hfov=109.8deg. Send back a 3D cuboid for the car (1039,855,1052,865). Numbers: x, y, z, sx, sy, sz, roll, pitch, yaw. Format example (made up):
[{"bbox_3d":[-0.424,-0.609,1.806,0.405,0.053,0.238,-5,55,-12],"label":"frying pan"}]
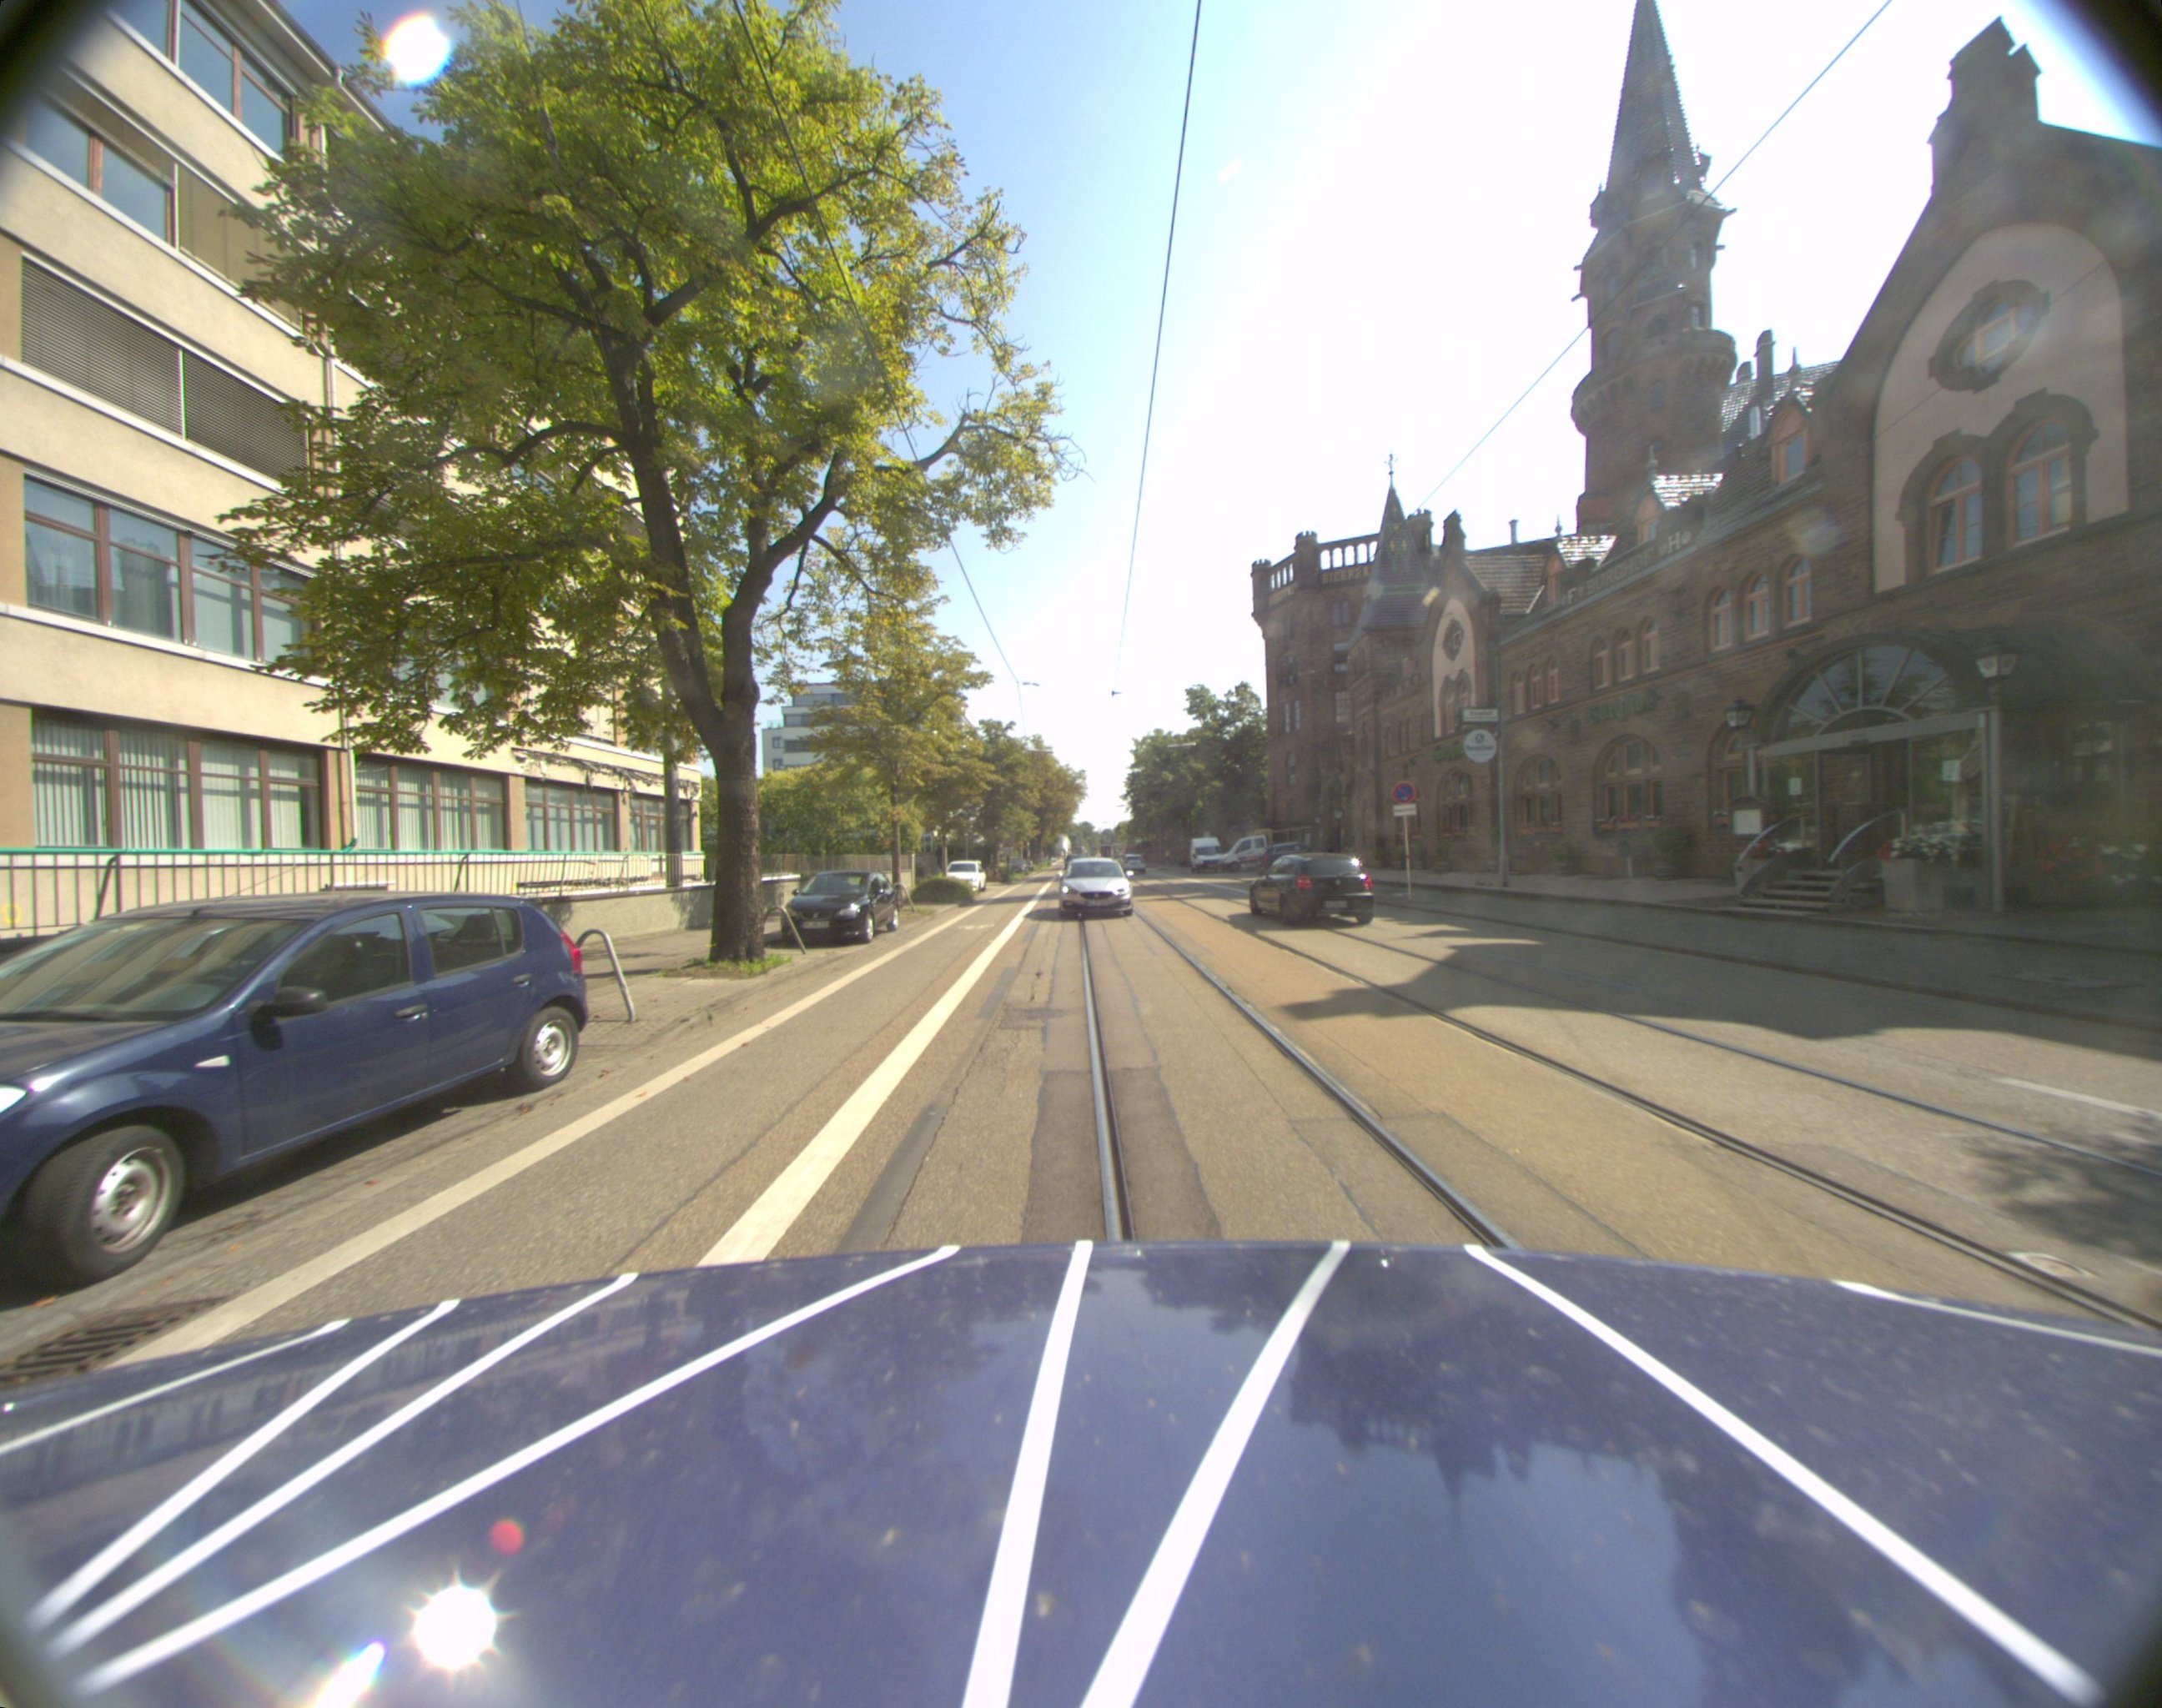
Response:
[{"bbox_3d":[-5.416,0.964,117.179,1.760,1.453,4.274,-1,0,0],"label":"car"}]

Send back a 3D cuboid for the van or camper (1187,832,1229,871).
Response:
[{"bbox_3d":[9.292,-0.179,56.079,2.118,2.660,5.955,-2,0,1],"label":"van or camper"}]

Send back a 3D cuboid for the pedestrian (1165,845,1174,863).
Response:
[{"bbox_3d":[9.797,-0.007,84.102,0.866,2.002,0.983,-2,1,-2],"label":"pedestrian"}]

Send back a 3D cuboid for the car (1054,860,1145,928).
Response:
[{"bbox_3d":[0.365,0.876,18.739,1.928,1.465,4.816,0,0,-1],"label":"car"}]

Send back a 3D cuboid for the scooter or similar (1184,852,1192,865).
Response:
[{"bbox_3d":[10.120,0.443,71.954,0.340,1.172,1.180,-2,1,25],"label":"scooter or similar"}]

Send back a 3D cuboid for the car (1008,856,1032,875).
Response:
[{"bbox_3d":[-5.202,0.968,65.316,1.760,1.506,4.608,-1,0,-2],"label":"car"}]

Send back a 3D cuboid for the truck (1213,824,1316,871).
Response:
[{"bbox_3d":[12.301,-0.387,51.242,6.334,2.523,2.132,-5,-1,5],"label":"truck"}]

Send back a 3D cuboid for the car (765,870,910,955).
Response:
[{"bbox_3d":[-4.941,1.115,16.058,1.663,1.399,4.216,-1,0,0],"label":"car"}]

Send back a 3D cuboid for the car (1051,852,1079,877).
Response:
[{"bbox_3d":[-1.074,0.706,52.888,1.834,1.543,4.032,-2,0,-1],"label":"car"}]

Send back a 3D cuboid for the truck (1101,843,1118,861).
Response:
[{"bbox_3d":[7.482,-0.633,198.838,3.171,4.427,16.846,-2,0,6],"label":"truck"}]

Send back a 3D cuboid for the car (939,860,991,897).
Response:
[{"bbox_3d":[-5.199,1.050,34.437,1.663,1.472,4.216,-1,0,0],"label":"car"}]

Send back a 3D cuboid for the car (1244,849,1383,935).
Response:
[{"bbox_3d":[4.747,0.696,16.138,1.685,1.562,4.205,-1,0,0],"label":"car"}]

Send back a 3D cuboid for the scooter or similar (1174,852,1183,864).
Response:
[{"bbox_3d":[9.761,0.360,76.253,0.422,1.172,1.315,-3,0,-16],"label":"scooter or similar"}]

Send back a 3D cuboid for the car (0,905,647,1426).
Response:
[{"bbox_3d":[-4.691,1.249,4.511,1.747,1.547,4.216,-1,0,0],"label":"car"}]

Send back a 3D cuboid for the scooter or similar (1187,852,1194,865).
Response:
[{"bbox_3d":[10.216,0.442,70.783,0.340,1.172,1.180,-2,1,25],"label":"scooter or similar"}]

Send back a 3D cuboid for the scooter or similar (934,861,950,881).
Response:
[{"bbox_3d":[-9.053,1.088,49.496,0.557,1.252,1.818,-2,0,2],"label":"scooter or similar"}]

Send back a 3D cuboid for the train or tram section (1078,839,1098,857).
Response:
[{"bbox_3d":[1.757,-1.359,174.649,4.111,3.711,24.378,-2,0,1],"label":"train or tram section"}]

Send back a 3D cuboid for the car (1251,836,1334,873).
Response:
[{"bbox_3d":[12.280,0.008,44.270,4.146,1.733,2.000,-5,0,1],"label":"car"}]

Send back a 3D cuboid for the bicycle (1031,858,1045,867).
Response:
[{"bbox_3d":[-5.630,1.088,98.932,1.776,1.043,0.540,-1,0,-1],"label":"bicycle"}]

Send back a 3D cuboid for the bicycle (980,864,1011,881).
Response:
[{"bbox_3d":[-5.306,1.141,47.196,1.816,0.952,0.558,-2,1,-1],"label":"bicycle"}]

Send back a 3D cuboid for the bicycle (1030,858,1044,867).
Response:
[{"bbox_3d":[-5.611,1.093,96.453,1.776,1.043,0.540,-1,0,-1],"label":"bicycle"}]

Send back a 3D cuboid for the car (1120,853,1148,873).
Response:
[{"bbox_3d":[4.140,0.654,59.574,1.851,1.483,4.867,-1,0,0],"label":"car"}]

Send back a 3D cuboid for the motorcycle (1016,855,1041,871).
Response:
[{"bbox_3d":[-5.234,0.912,75.981,2.448,1.507,0.854,-2,1,38],"label":"motorcycle"}]

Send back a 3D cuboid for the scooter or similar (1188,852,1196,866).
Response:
[{"bbox_3d":[10.206,0.445,69.649,0.340,1.172,1.180,-2,1,25],"label":"scooter or similar"}]
